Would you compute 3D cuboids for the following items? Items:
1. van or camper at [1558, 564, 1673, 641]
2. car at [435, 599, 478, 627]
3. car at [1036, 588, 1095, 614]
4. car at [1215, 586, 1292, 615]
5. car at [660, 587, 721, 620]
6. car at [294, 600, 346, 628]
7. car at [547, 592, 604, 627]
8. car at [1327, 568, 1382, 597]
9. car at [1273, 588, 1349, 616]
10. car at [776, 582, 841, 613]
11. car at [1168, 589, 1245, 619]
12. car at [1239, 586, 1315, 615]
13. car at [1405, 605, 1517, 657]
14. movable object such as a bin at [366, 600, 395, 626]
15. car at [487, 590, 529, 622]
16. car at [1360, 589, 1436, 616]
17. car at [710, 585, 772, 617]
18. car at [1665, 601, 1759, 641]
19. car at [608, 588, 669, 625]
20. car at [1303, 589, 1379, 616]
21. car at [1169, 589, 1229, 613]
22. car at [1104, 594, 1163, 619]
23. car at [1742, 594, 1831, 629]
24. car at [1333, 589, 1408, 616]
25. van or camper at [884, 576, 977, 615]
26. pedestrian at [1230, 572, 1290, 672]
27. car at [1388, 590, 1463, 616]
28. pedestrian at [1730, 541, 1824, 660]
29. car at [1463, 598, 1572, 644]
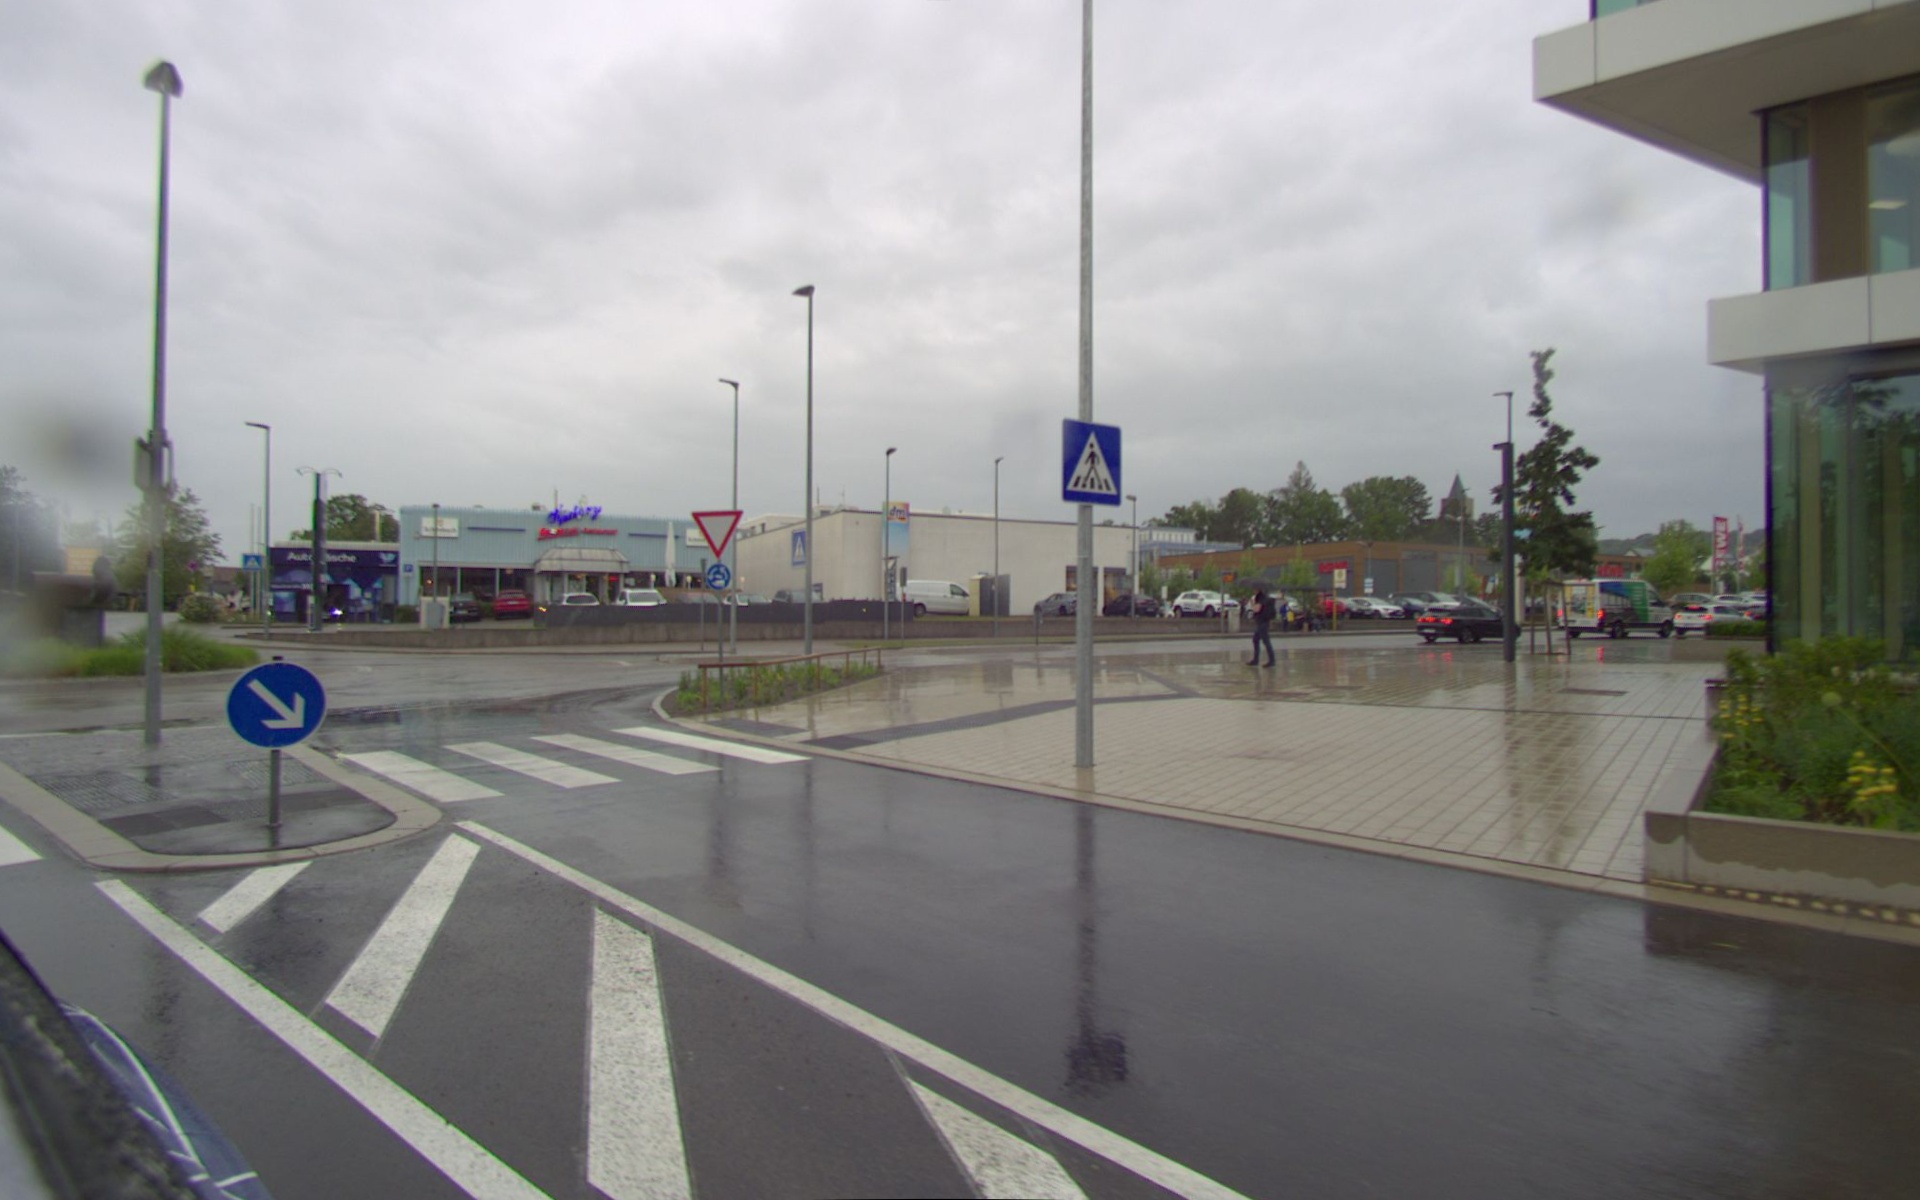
[{"bbox_3d":[28.769,0.074,44.387,5.014,3.111,2.006,-2,0,-29],"label":"van or camper"},{"bbox_3d":[-25.972,0.645,52.251,1.855,1.305,4.013,-3,1,-26],"label":"car"},{"bbox_3d":[6.659,0.074,64.236,1.763,1.564,4.013,-1,-1,-27],"label":"car"},{"bbox_3d":[16.292,0.059,56.357,1.764,1.564,4.012,0,-1,-29],"label":"car"},{"bbox_3d":[-12.073,0.168,45.245,1.855,1.305,4.013,-3,1,-26],"label":"car"},{"bbox_3d":[-37.086,0.812,58.746,1.888,1.541,4.013,-2,0,-23],"label":"car"},{"bbox_3d":[-16.280,0.412,42.736,1.855,1.305,4.013,-3,1,-26],"label":"car"},{"bbox_3d":[30.925,-1.386,79.363,3.932,2.028,2.006,-4,3,-31],"label":"car"},{"bbox_3d":[20.369,0.125,58.858,1.764,1.564,4.012,0,-1,-29],"label":"car"},{"bbox_3d":[-7.151,-0.087,47.480,1.855,1.305,4.013,-3,1,-26],"label":"car"},{"bbox_3d":[13.353,0.215,55.131,1.820,1.564,4.012,0,-1,-29],"label":"car"},{"bbox_3d":[17.934,0.026,57.438,1.764,1.564,4.012,0,-1,-29],"label":"car"},{"bbox_3d":[19.715,1.161,39.794,3.932,1.740,2.006,-3,1,-28],"label":"car"},{"bbox_3d":[-31.515,0.714,55.073,1.194,1.305,1.483,-3,1,-26],"label":"movable object such as a bin"},{"bbox_3d":[-23.919,0.316,53.527,1.855,1.497,4.013,-3,1,-26],"label":"car"},{"bbox_3d":[27.008,0.178,62.513,1.764,1.564,4.012,0,-1,-29],"label":"car"},{"bbox_3d":[-10.038,0.068,46.197,1.855,1.305,4.013,-3,1,-26],"label":"car"},{"bbox_3d":[35.563,0.966,47.858,3.931,1.719,2.006,-1,0,-27],"label":"car"},{"bbox_3d":[-14.160,0.306,44.466,1.764,1.564,4.012,0,-1,-29],"label":"car"},{"bbox_3d":[22.520,0.160,59.896,1.764,1.564,4.012,0,-1,-29],"label":"car"},{"bbox_3d":[16.763,0.073,70.962,3.932,1.564,1.800,-1,-1,-30],"label":"car"},{"bbox_3d":[11.397,0.450,66.697,1.763,1.564,4.013,-1,-1,-27],"label":"car"},{"bbox_3d":[41.371,0.572,50.671,3.931,1.630,2.006,-1,0,-27],"label":"car"},{"bbox_3d":[24.818,0.190,61.309,1.764,1.564,4.012,0,-1,-29],"label":"car"},{"bbox_3d":[-1.521,-0.227,52.258,4.306,1.774,1.894,-3,1,-25],"label":"van or camper"},{"bbox_3d":[6.244,0.454,21.036,0.930,2.029,0.882,-1,-1,36],"label":"pedestrian"},{"bbox_3d":[29.221,0.185,63.676,1.764,1.564,4.012,0,-1,-29],"label":"car"},{"bbox_3d":[15.330,0.008,19.005,0.915,2.162,1.009,-1,-1,-23],"label":"pedestrian"},{"bbox_3d":[22.695,0.816,41.180,3.931,1.719,2.006,-1,0,-27],"label":"car"}]
